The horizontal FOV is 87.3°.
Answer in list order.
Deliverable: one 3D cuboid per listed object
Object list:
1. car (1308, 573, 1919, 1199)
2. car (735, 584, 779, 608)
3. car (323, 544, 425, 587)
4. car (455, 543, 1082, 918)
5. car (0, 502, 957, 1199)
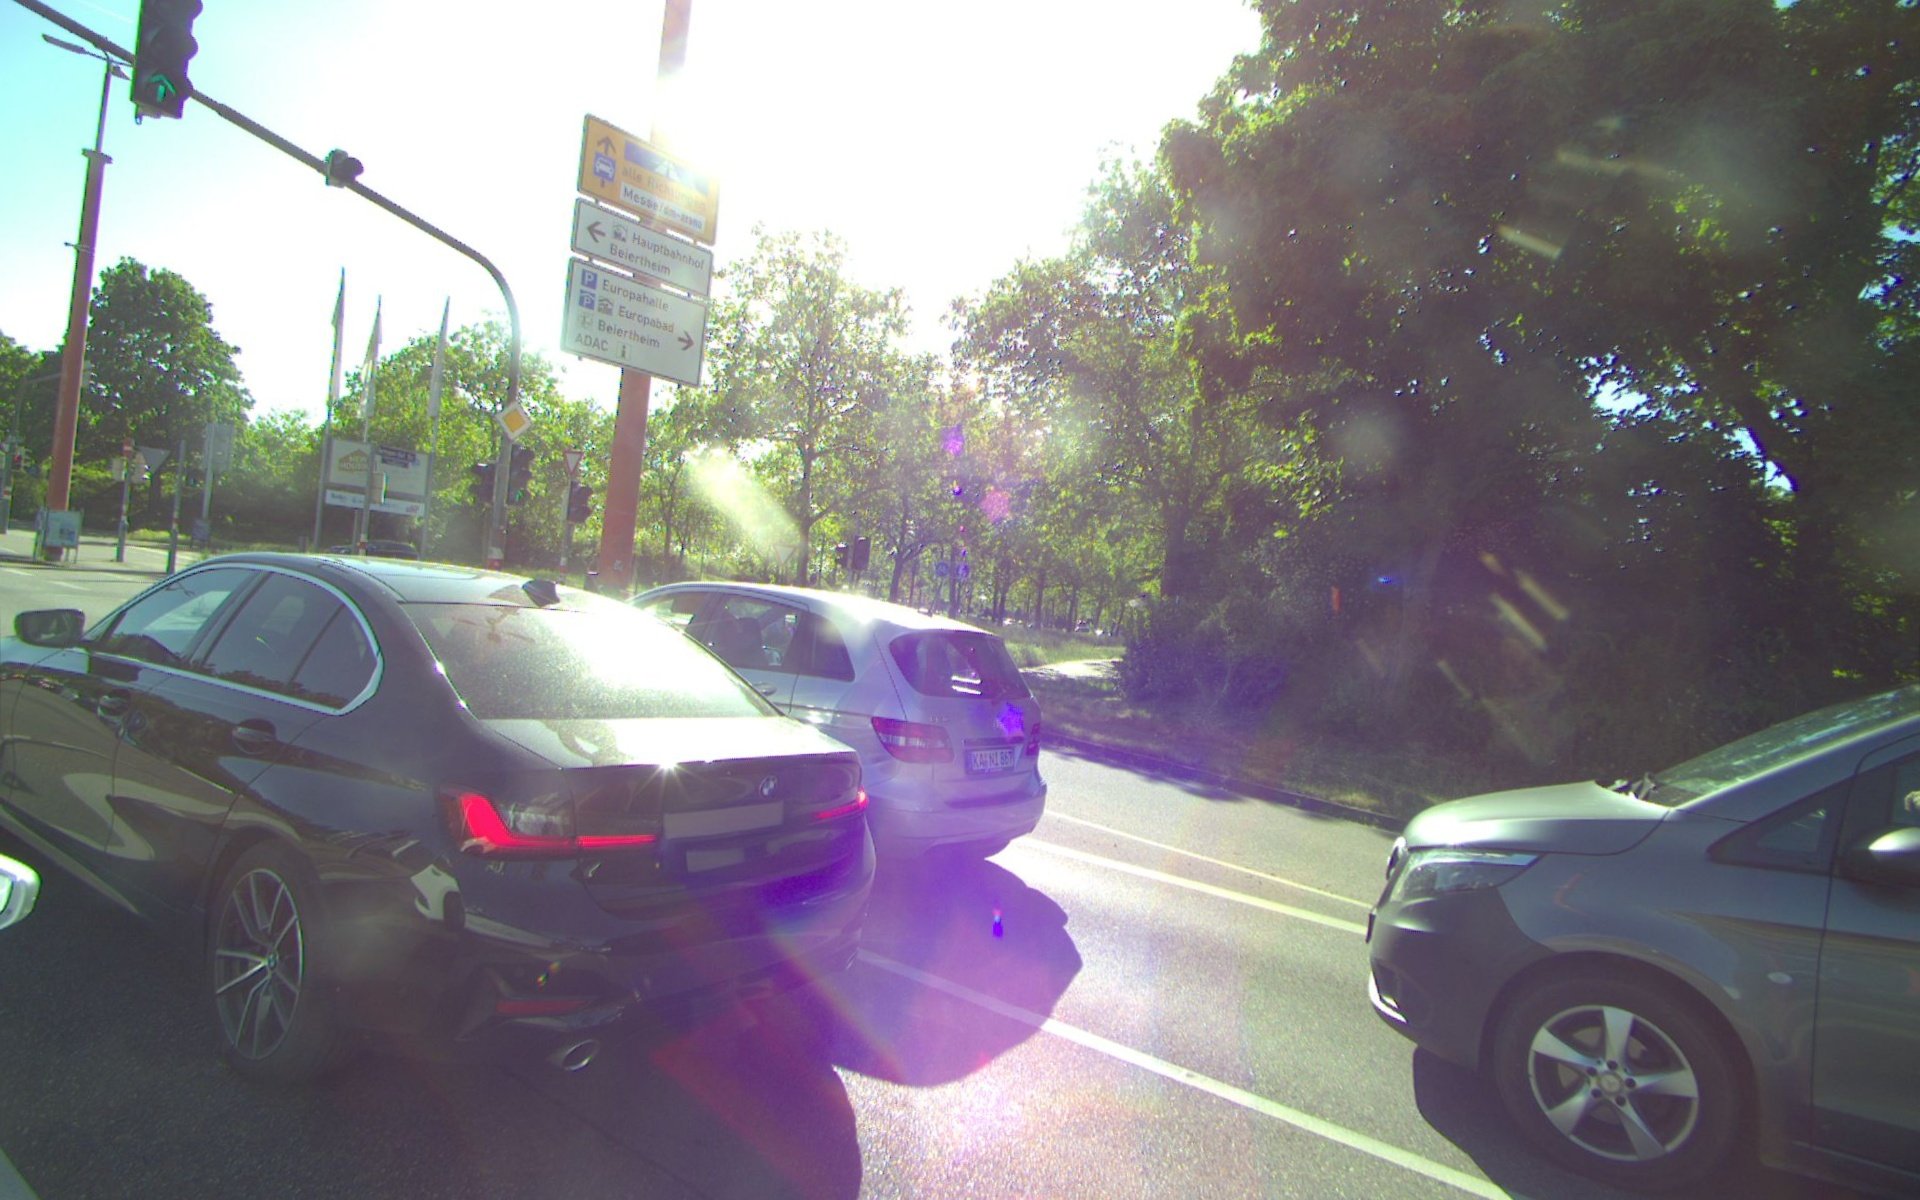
[{"bbox_3d":[3.965,1.144,3.100,5.021,1.875,1.806,7,0,34],"label":"car"},{"bbox_3d":[-18.542,-0.343,92.077,1.737,1.655,4.297,7,-1,23],"label":"car"},{"bbox_3d":[-31.322,-1.824,53.838,1.747,1.654,4.276,6,-3,45],"label":"car"},{"bbox_3d":[-1.356,0.670,6.682,3.784,1.626,1.719,6,-2,32],"label":"car"},{"bbox_3d":[-2.320,0.543,4.021,4.226,1.458,1.766,6,-2,34],"label":"car"}]
